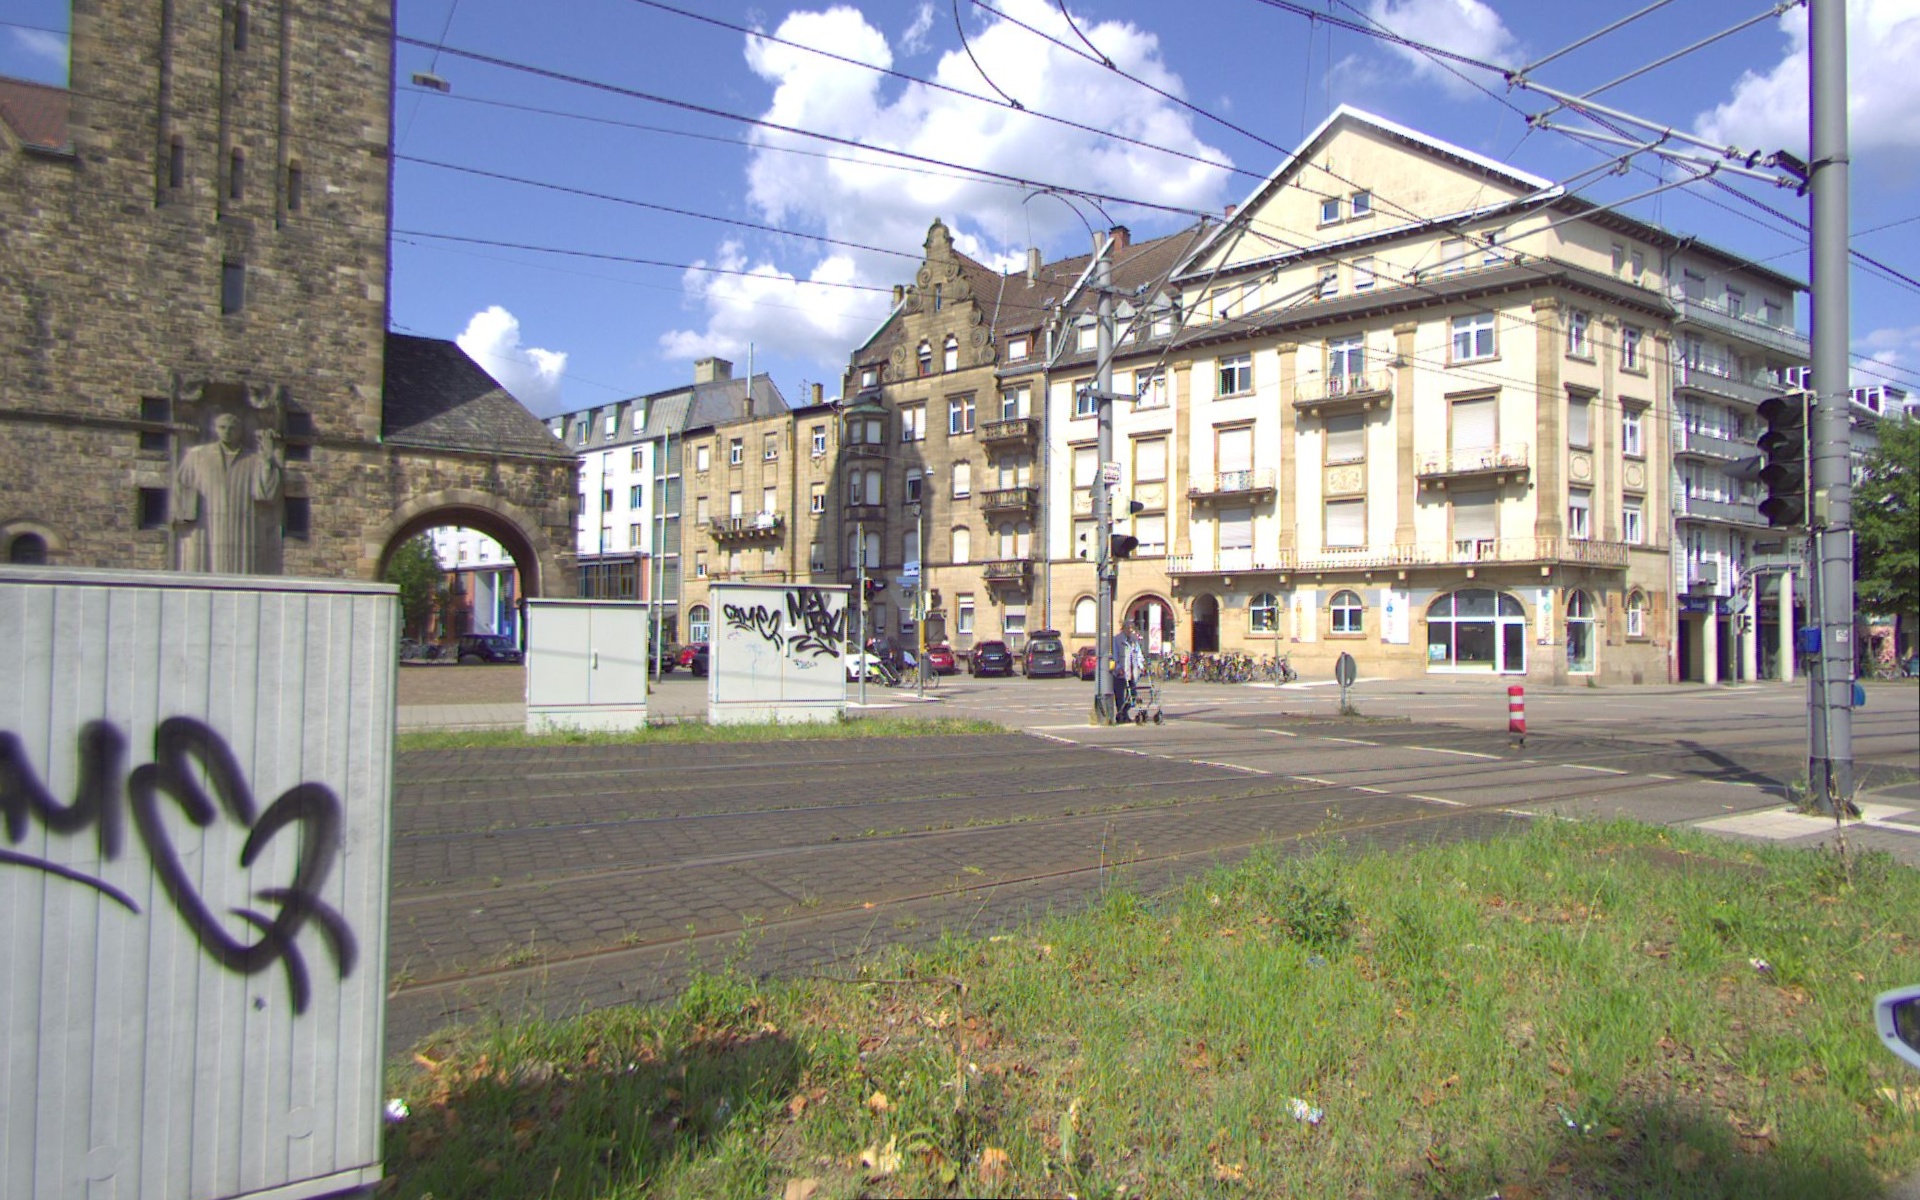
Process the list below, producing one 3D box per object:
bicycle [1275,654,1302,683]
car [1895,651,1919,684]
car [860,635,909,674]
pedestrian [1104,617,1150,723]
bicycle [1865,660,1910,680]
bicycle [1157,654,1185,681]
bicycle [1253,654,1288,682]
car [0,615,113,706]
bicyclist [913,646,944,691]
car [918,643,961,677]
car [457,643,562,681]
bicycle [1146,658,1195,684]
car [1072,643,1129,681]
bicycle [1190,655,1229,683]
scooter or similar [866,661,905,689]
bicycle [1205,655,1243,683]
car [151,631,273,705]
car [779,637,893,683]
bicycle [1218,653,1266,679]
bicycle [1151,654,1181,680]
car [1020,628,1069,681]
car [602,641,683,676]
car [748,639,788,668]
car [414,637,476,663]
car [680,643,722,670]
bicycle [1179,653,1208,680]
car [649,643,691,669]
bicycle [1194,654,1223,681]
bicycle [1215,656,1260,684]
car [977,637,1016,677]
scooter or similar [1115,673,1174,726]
[{"bbox_3d":[13.366,2.769,40.831,0.599,1.032,1.872,-1,-1,32],"label":"bicycle"},{"bbox_3d":[54.926,3.824,56.886,3.953,1.813,1.838,2,0,-30],"label":"car"},{"bbox_3d":[-3.906,2.801,52.329,1.878,1.849,4.002,-1,0,5],"label":"car"},{"bbox_3d":[2.822,1.176,17.003,0.551,1.755,0.523,2,-3,-34],"label":"pedestrian"},{"bbox_3d":[48.733,3.667,52.799,0.492,0.999,1.680,2,-3,-31],"label":"bicycle"},{"bbox_3d":[8.986,2.850,42.762,0.531,1.032,1.924,-1,0,31],"label":"bicycle"},{"bbox_3d":[12.785,2.781,41.349,0.602,1.032,1.865,-1,-1,44],"label":"bicycle"},{"bbox_3d":[-20.424,1.310,22.268,1.842,1.847,3.982,2,-3,-31],"label":"car"},{"bbox_3d":[-1.115,2.419,35.633,0.906,1.524,0.651,-1,-1,32],"label":"bicyclist"},{"bbox_3d":[-1.074,2.986,50.319,1.880,1.463,3.997,-1,0,-5],"label":"car"},{"bbox_3d":[-20.865,2.860,46.654,3.892,1.674,2.034,0,-2,3],"label":"car"},{"bbox_3d":[8.642,2.901,41.163,1.891,1.032,0.540,-1,0,20],"label":"bicycle"},{"bbox_3d":[6.177,2.734,44.644,1.929,1.460,4.000,-1,-1,0],"label":"car"},{"bbox_3d":[10.371,2.859,41.717,1.913,1.032,0.534,-1,0,-41],"label":"bicycle"},{"bbox_3d":[-2.716,2.725,36.505,1.111,0.990,0.889,-1,-3,32],"label":"scooter or similar"},{"bbox_3d":[10.898,2.836,41.445,1.913,1.032,0.534,0,-1,-41],"label":"bicycle"},{"bbox_3d":[-17.295,1.547,23.391,1.777,1.567,3.749,2,-3,-30],"label":"car"},{"bbox_3d":[-5.096,2.398,40.977,4.587,1.762,1.809,-1,-3,35],"label":"car"},{"bbox_3d":[11.968,2.811,42.728,1.899,1.032,0.538,-1,0,40],"label":"bicycle"},{"bbox_3d":[9.005,2.902,43.848,0.531,1.032,1.922,-1,0,35],"label":"bicycle"},{"bbox_3d":[3.873,2.473,46.715,1.929,2.111,3.999,-1,2,0],"label":"car"},{"bbox_3d":[-15.494,2.812,48.970,4.005,1.617,1.698,-1,-3,35],"label":"car"},{"bbox_3d":[-10.942,3.011,57.388,1.574,1.475,3.776,-1,0,0],"label":"car"},{"bbox_3d":[-32.501,3.124,63.369,4.005,1.617,1.790,-1,-3,35],"label":"car"},{"bbox_3d":[-15.648,3.396,60.853,1.574,1.415,3.573,-1,0,0],"label":"car"},{"bbox_3d":[10.089,2.872,43.429,0.531,1.032,1.922,-1,0,35],"label":"bicycle"},{"bbox_3d":[-17.897,3.425,62.160,1.574,1.415,3.573,-1,0,0],"label":"car"},{"bbox_3d":[10.654,2.866,43.049,0.531,1.032,1.922,-1,0,35],"label":"bicycle"},{"bbox_3d":[11.279,2.829,40.764,1.853,1.032,0.598,0,0,-28],"label":"bicycle"},{"bbox_3d":[1.705,2.679,48.198,1.677,1.690,4.000,-1,0,0],"label":"car"},{"bbox_3d":[3.049,1.635,16.621,0.548,0.814,0.833,2,-3,-33],"label":"scooter or similar"}]
